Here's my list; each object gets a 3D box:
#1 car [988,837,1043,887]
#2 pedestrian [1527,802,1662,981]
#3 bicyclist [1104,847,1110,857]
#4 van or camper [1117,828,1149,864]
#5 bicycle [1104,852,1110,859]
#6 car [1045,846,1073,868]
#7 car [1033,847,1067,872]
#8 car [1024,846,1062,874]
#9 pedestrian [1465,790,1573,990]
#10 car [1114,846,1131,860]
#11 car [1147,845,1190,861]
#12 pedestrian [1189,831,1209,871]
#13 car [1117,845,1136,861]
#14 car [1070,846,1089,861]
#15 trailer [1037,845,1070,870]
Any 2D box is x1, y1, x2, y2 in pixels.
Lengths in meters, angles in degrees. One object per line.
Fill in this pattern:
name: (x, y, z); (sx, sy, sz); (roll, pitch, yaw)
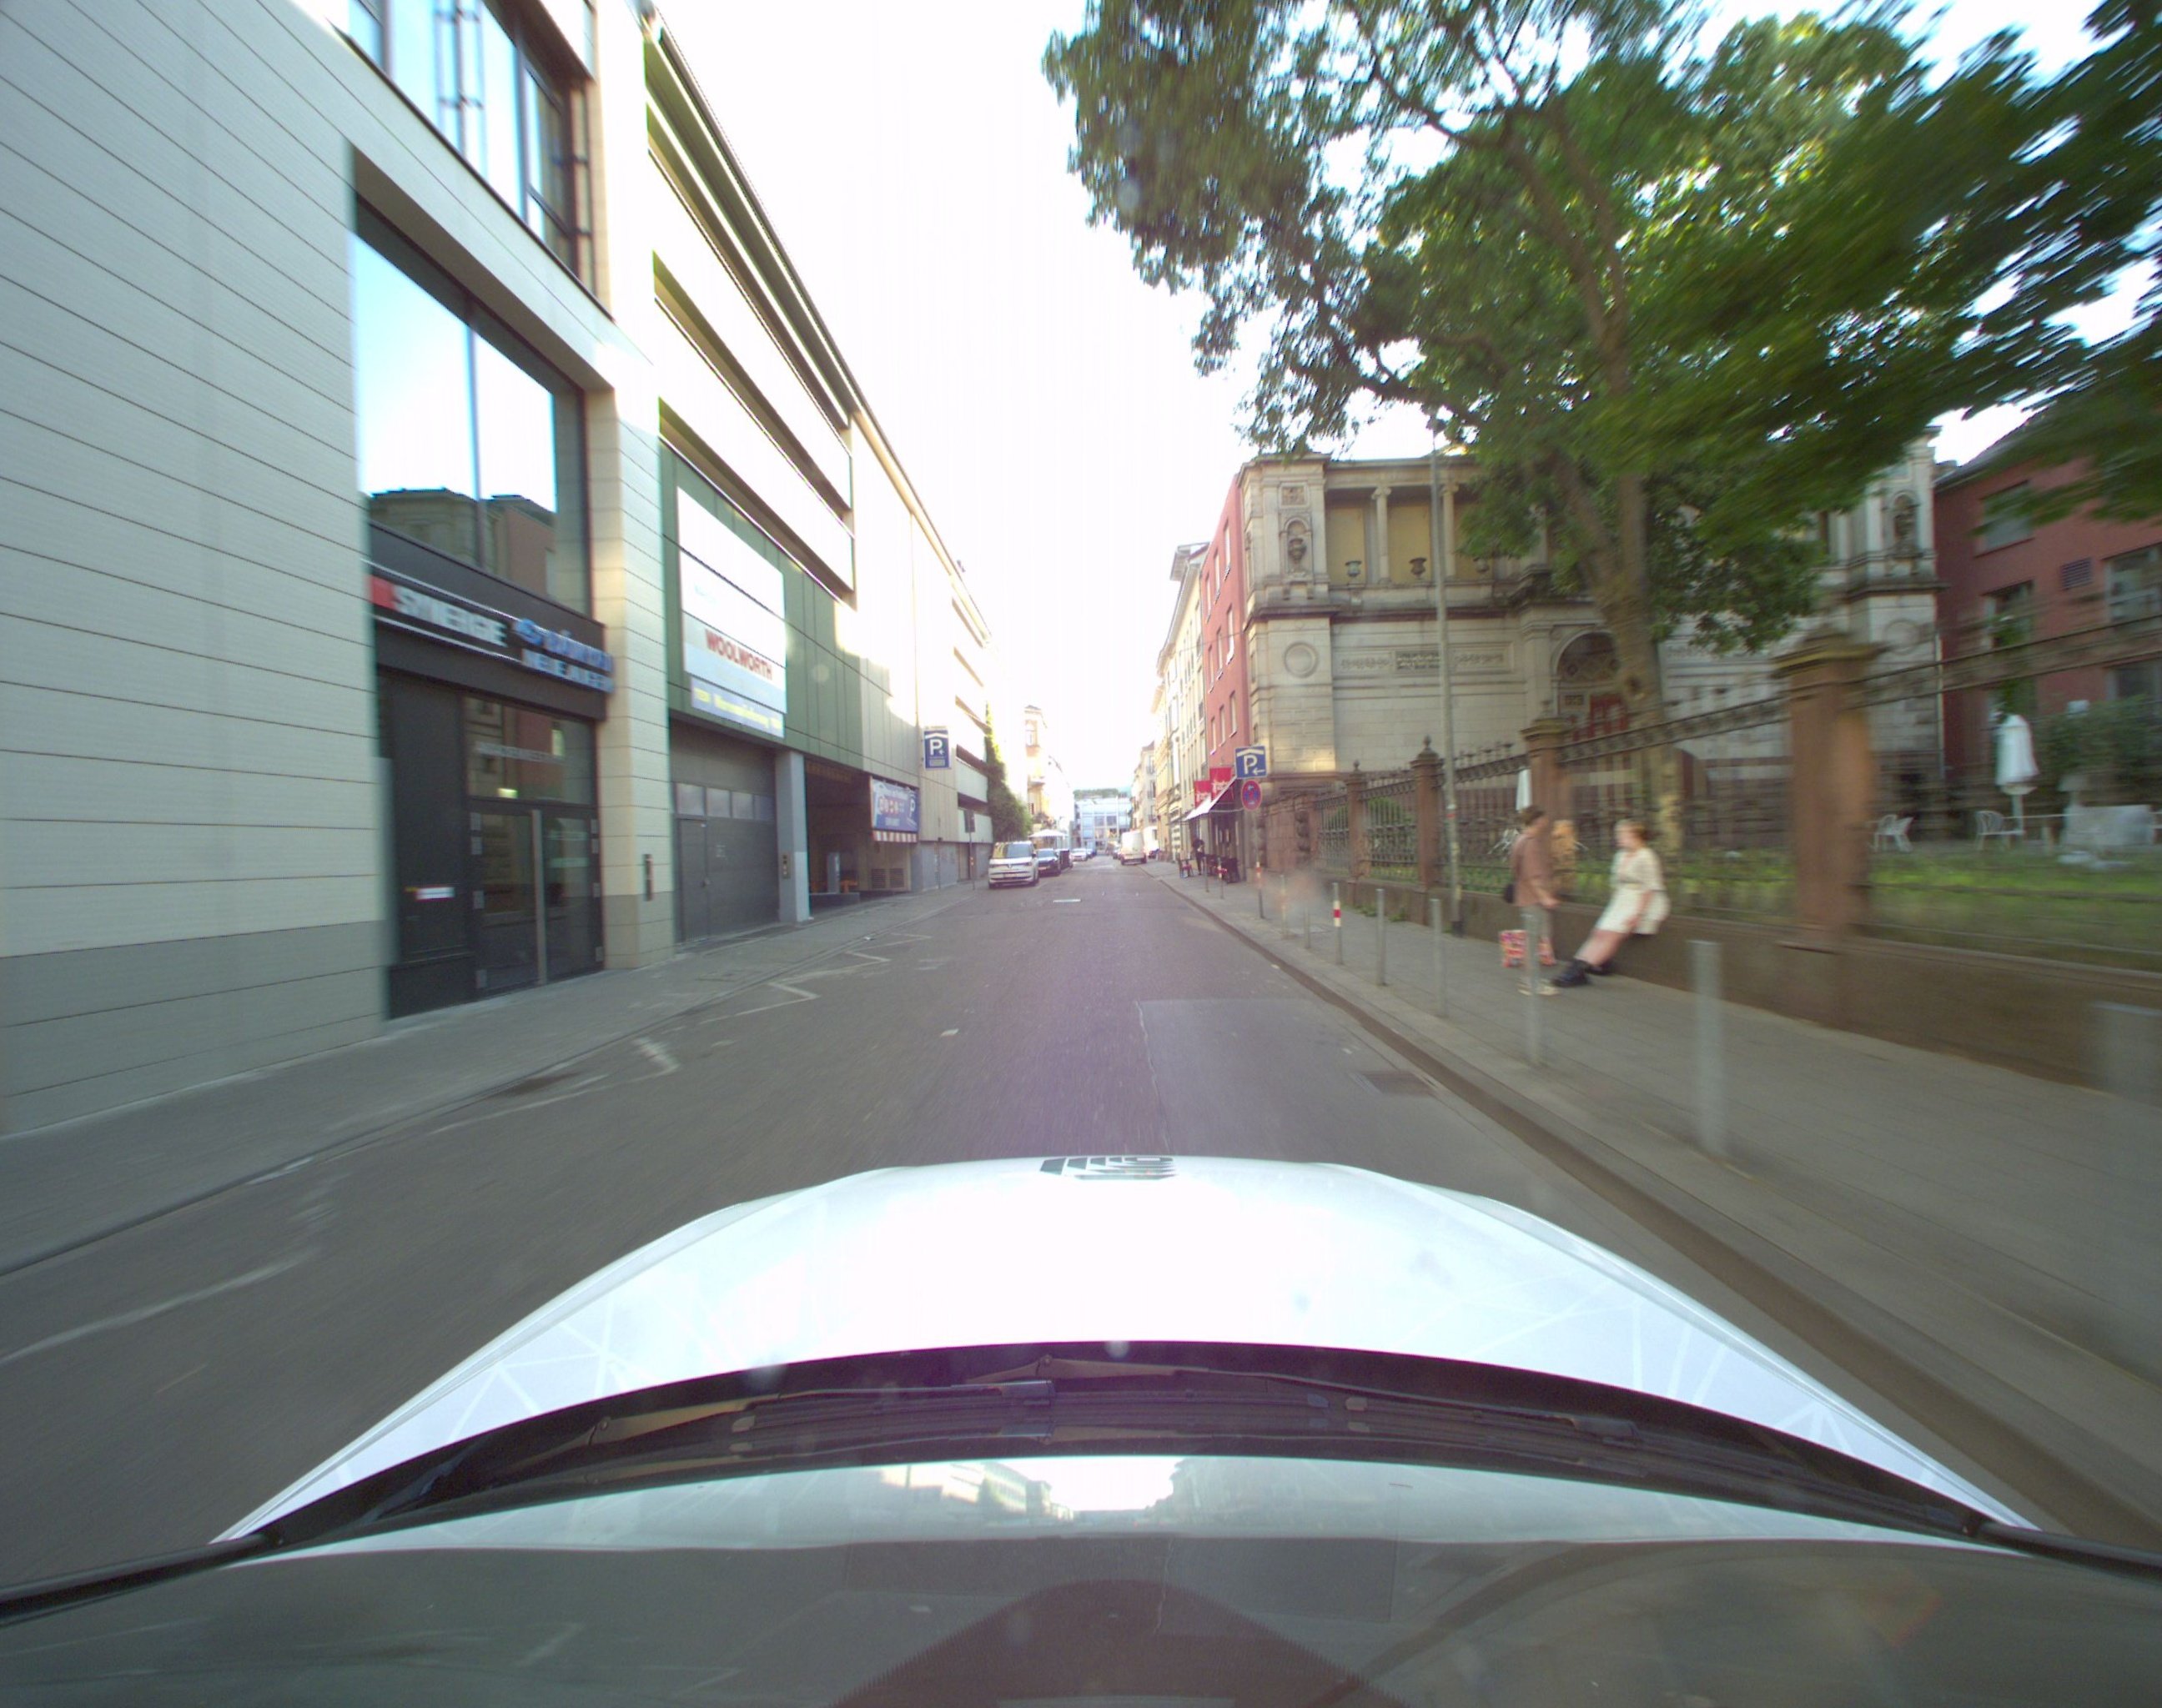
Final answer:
car: (-2.727, 0.292, 34.916); (1.877, 1.912, 4.748); (-2, 0, 0)
pedestrian: (4.624, 0.320, 7.369); (0.748, 1.499, 0.618); (-4, 0, -4)
bicyclist: (4.880, -0.381, 153.421); (0.986, 1.868, 0.708); (-2, -1, 1)
van or camper: (4.280, -0.645, 68.130); (2.249, 2.607, 5.114); (-6, -1, 2)
bicycle: (4.941, 0.291, 153.601); (0.971, 1.280, 2.755); (-2, 0, 2)
car: (-1.570, 0.208, 59.692); (1.877, 1.453, 4.000); (-2, 0, 0)
car: (-1.906, 0.303, 51.043); (1.877, 1.453, 4.000); (-2, 0, 0)
car: (-2.098, 0.316, 46.146); (1.877, 1.453, 4.000); (-2, 0, 0)
pedestrian: (3.842, 0.297, 7.176); (0.483, 1.658, 0.617); (-4, 0, -5)
car: (5.322, -0.083, 104.544); (1.986, 1.684, 4.002); (-2, 0, 2)
car: (8.451, -0.092, 78.511); (3.972, 1.420, 1.657); (-2, 0, 1)
pedestrian: (5.068, -0.123, 34.904); (0.659, 1.666, 0.624); (-4, 0, 2)
car: (5.137, -0.137, 92.696); (1.986, 1.684, 4.002); (-2, 0, 2)
car: (-0.141, -0.039, 94.211); (1.986, 1.684, 4.002); (-2, 0, 2)
trailer: (-1.833, 0.218, 55.308); (1.987, 1.557, 4.000); (-2, 0, 0)
